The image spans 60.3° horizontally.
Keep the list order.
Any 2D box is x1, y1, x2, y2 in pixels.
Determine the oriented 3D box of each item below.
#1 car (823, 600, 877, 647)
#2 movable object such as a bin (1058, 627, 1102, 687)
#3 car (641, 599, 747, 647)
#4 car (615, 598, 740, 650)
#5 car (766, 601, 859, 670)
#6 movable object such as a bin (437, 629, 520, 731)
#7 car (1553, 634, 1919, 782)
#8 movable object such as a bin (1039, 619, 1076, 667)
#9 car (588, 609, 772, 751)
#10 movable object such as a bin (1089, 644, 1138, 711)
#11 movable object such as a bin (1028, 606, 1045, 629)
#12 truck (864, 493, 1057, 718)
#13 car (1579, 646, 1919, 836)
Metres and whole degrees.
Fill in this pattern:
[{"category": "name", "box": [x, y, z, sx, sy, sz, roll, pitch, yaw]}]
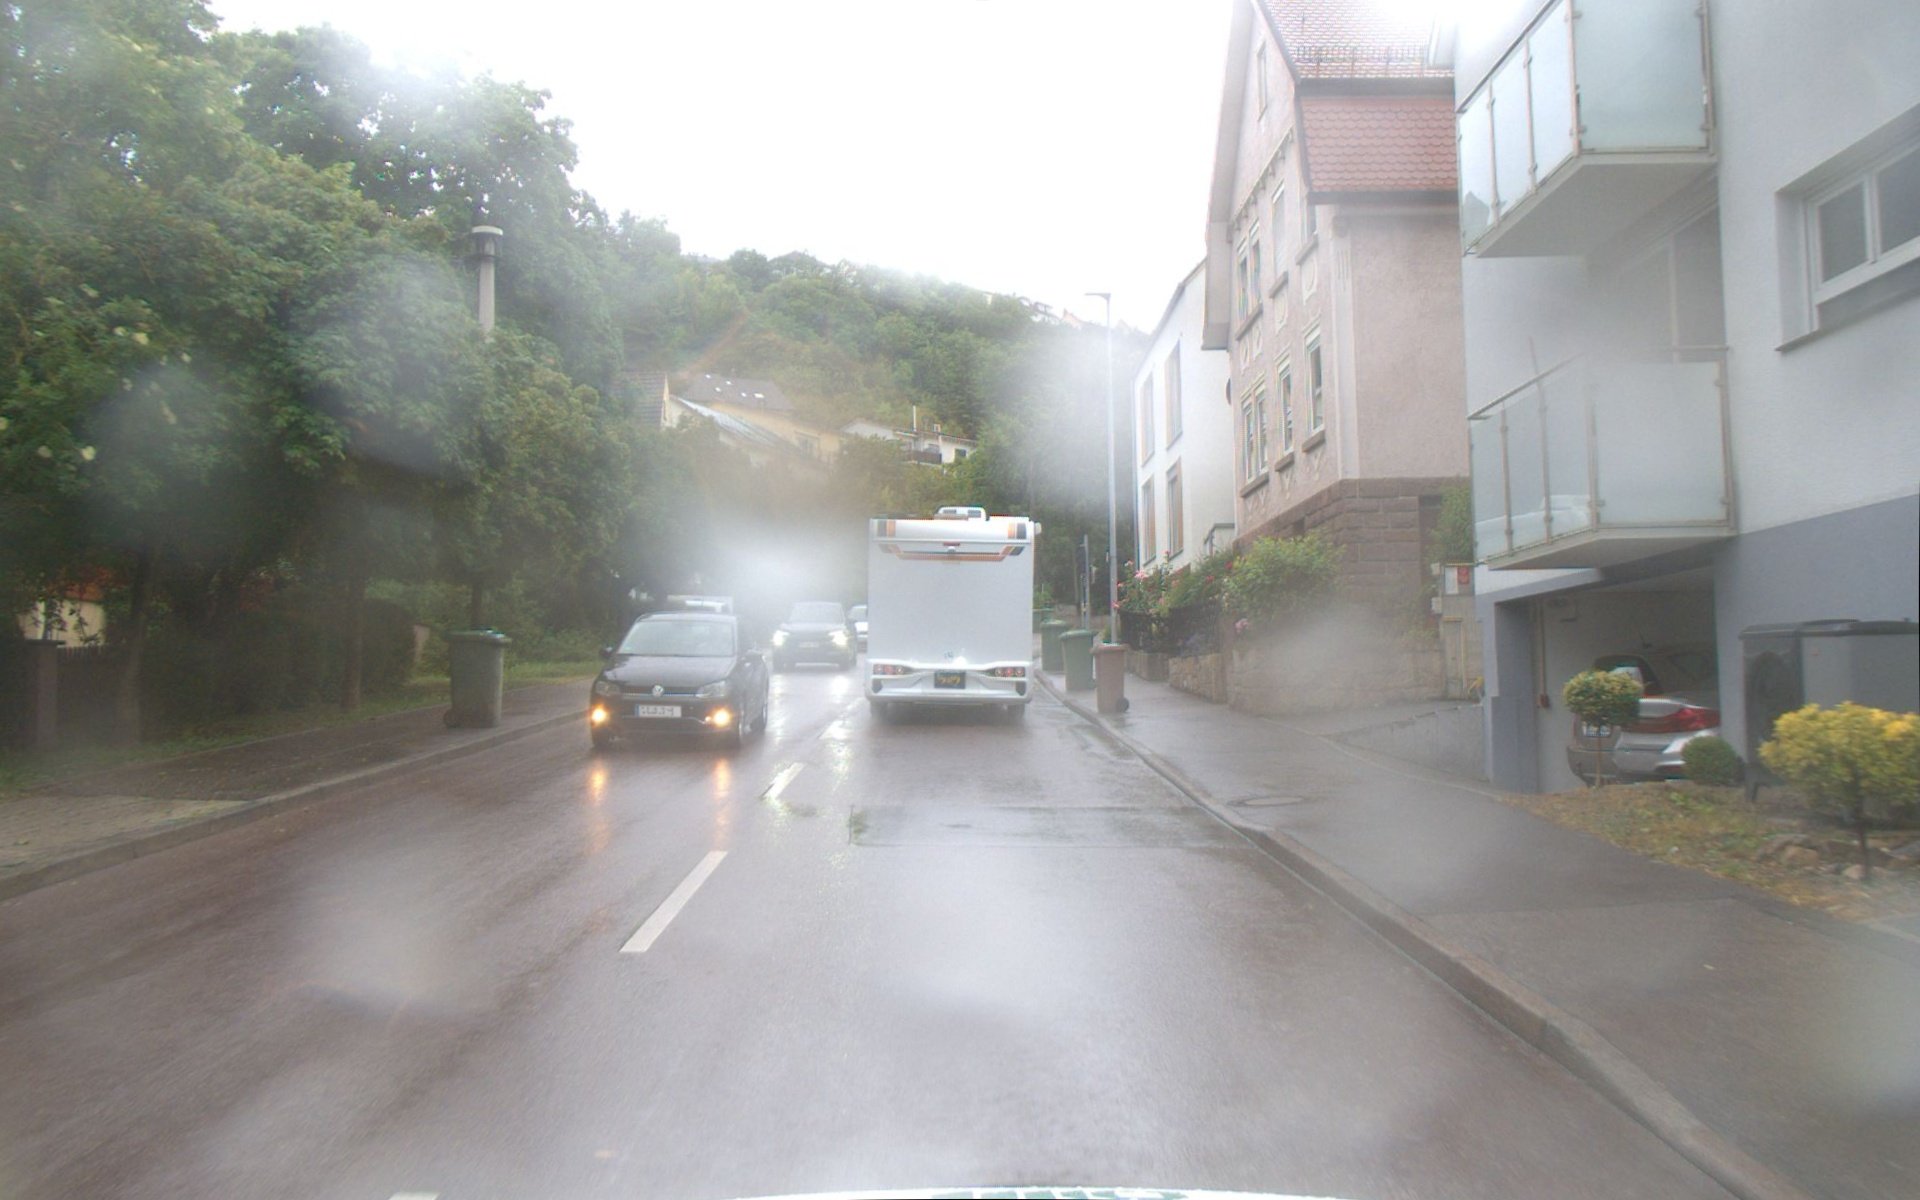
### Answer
[{"category": "car", "box": [-3.787, 0.784, 57.425, 1.768, 1.581, 3.828, 0, 0, -2]}, {"category": "movable object such as a bin", "box": [2.218, 1.052, 30.728, 0.780, 1.089, 0.761, 0, 0, 1]}, {"category": "car", "box": [-10.354, 0.877, 64.504, 4.002, 1.805, 1.795, 1, -1, -10]}, {"category": "car", "box": [-9.927, 0.833, 58.257, 4.021, 1.831, 2.000, 0, 0, 1]}, {"category": "car", "box": [-3.650, 0.861, 41.739, 1.878, 1.652, 4.363, 0, 0, 1]}, {"category": "movable object such as a bin", "box": [-5.487, 0.904, 18.887, 0.706, 1.119, 0.757, 1, 0, -1]}, {"category": "car", "box": [8.039, 1.013, 16.167, 3.892, 1.327, 1.681, 0, 0, -2]}, {"category": "movable object such as a bin", "box": [2.246, 0.992, 38.187, 0.818, 1.079, 0.750, 0, 0, 0]}, {"category": "car", "box": [-3.118, 0.836, 19.020, 1.586, 1.466, 3.736, 0, 0, -2]}, {"category": "movable object such as a bin", "box": [2.152, 1.080, 23.288, 0.617, 0.913, 0.712, 0, 0, -1]}, {"category": "movable object such as a bin", "box": [3.864, 0.870, 83.642, 0.659, 1.159, 0.619, 0, -1, -30]}, {"category": "truck", "box": [-0.037, 0.082, 24.227, 2.464, 2.867, 6.200, 0, 0, -1]}, {"category": "car", "box": [7.722, 1.151, 13.860, 4.378, 1.469, 1.754, 0, -4, -1]}]
